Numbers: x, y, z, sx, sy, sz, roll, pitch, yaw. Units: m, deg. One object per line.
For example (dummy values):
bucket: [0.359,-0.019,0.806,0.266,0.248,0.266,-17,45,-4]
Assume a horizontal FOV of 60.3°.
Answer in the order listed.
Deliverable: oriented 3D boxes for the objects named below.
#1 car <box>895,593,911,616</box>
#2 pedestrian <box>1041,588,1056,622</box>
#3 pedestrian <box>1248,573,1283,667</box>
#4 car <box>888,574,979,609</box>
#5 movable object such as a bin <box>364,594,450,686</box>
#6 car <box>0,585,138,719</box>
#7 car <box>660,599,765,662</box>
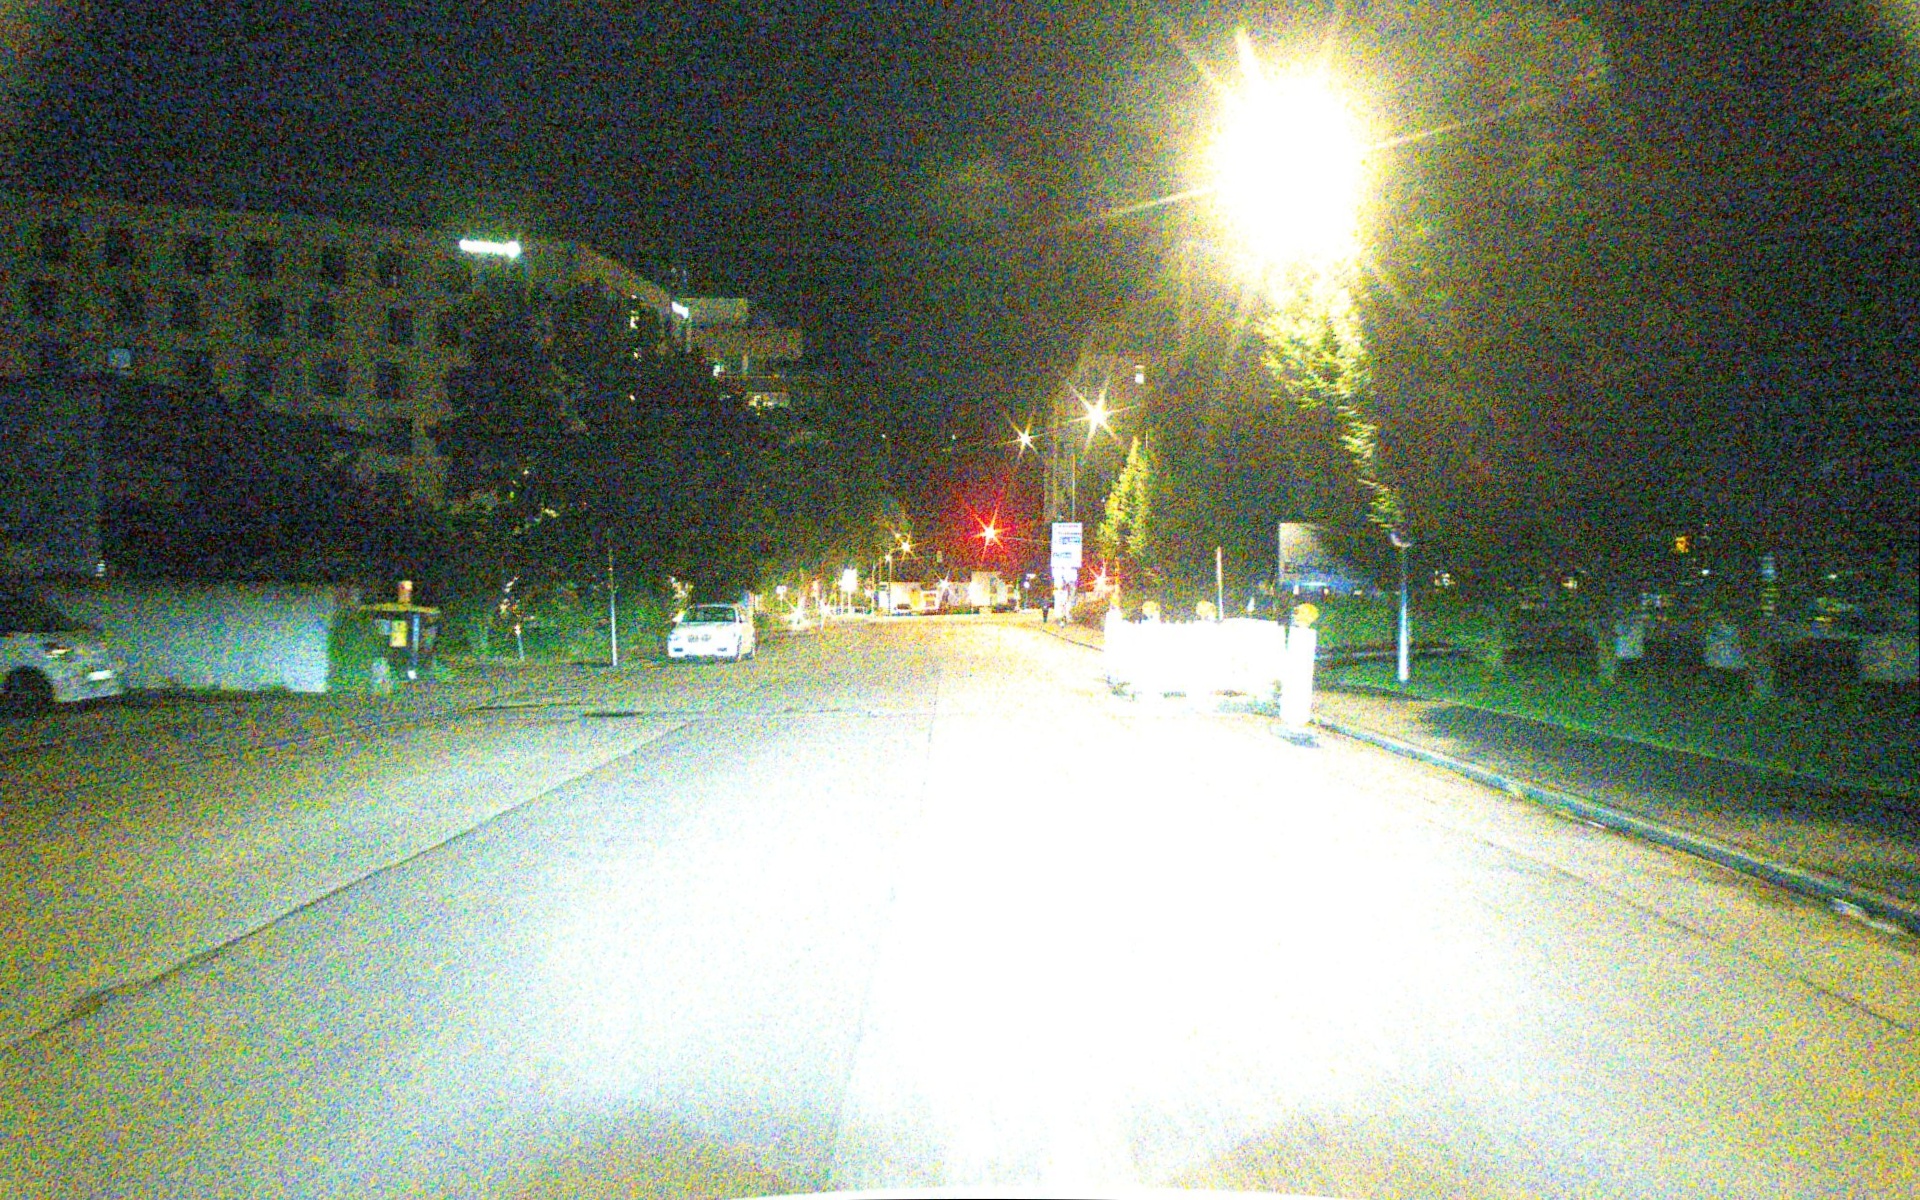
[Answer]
car: [-7.745,0.572,223.053,1.955,3.026,3.996,0,0,-5]
pedestrian: [5.325,0.279,99.210,0.725,2.016,0.623,0,0,-16]
pedestrian: [6.228,0.401,33.762,0.558,1.885,0.820,0,0,1]
car: [-3.809,-1.181,235.300,12.174,4.792,4.792,0,0,-14]
movable object such as a bin: [-9.445,0.669,28.301,1.141,1.522,1.065,-1,0,-3]
car: [-12.770,0.657,20.804,3.905,1.598,1.817,-1,0,0]
car: [-6.068,0.708,40.966,1.872,1.428,4.338,-1,0,1]
